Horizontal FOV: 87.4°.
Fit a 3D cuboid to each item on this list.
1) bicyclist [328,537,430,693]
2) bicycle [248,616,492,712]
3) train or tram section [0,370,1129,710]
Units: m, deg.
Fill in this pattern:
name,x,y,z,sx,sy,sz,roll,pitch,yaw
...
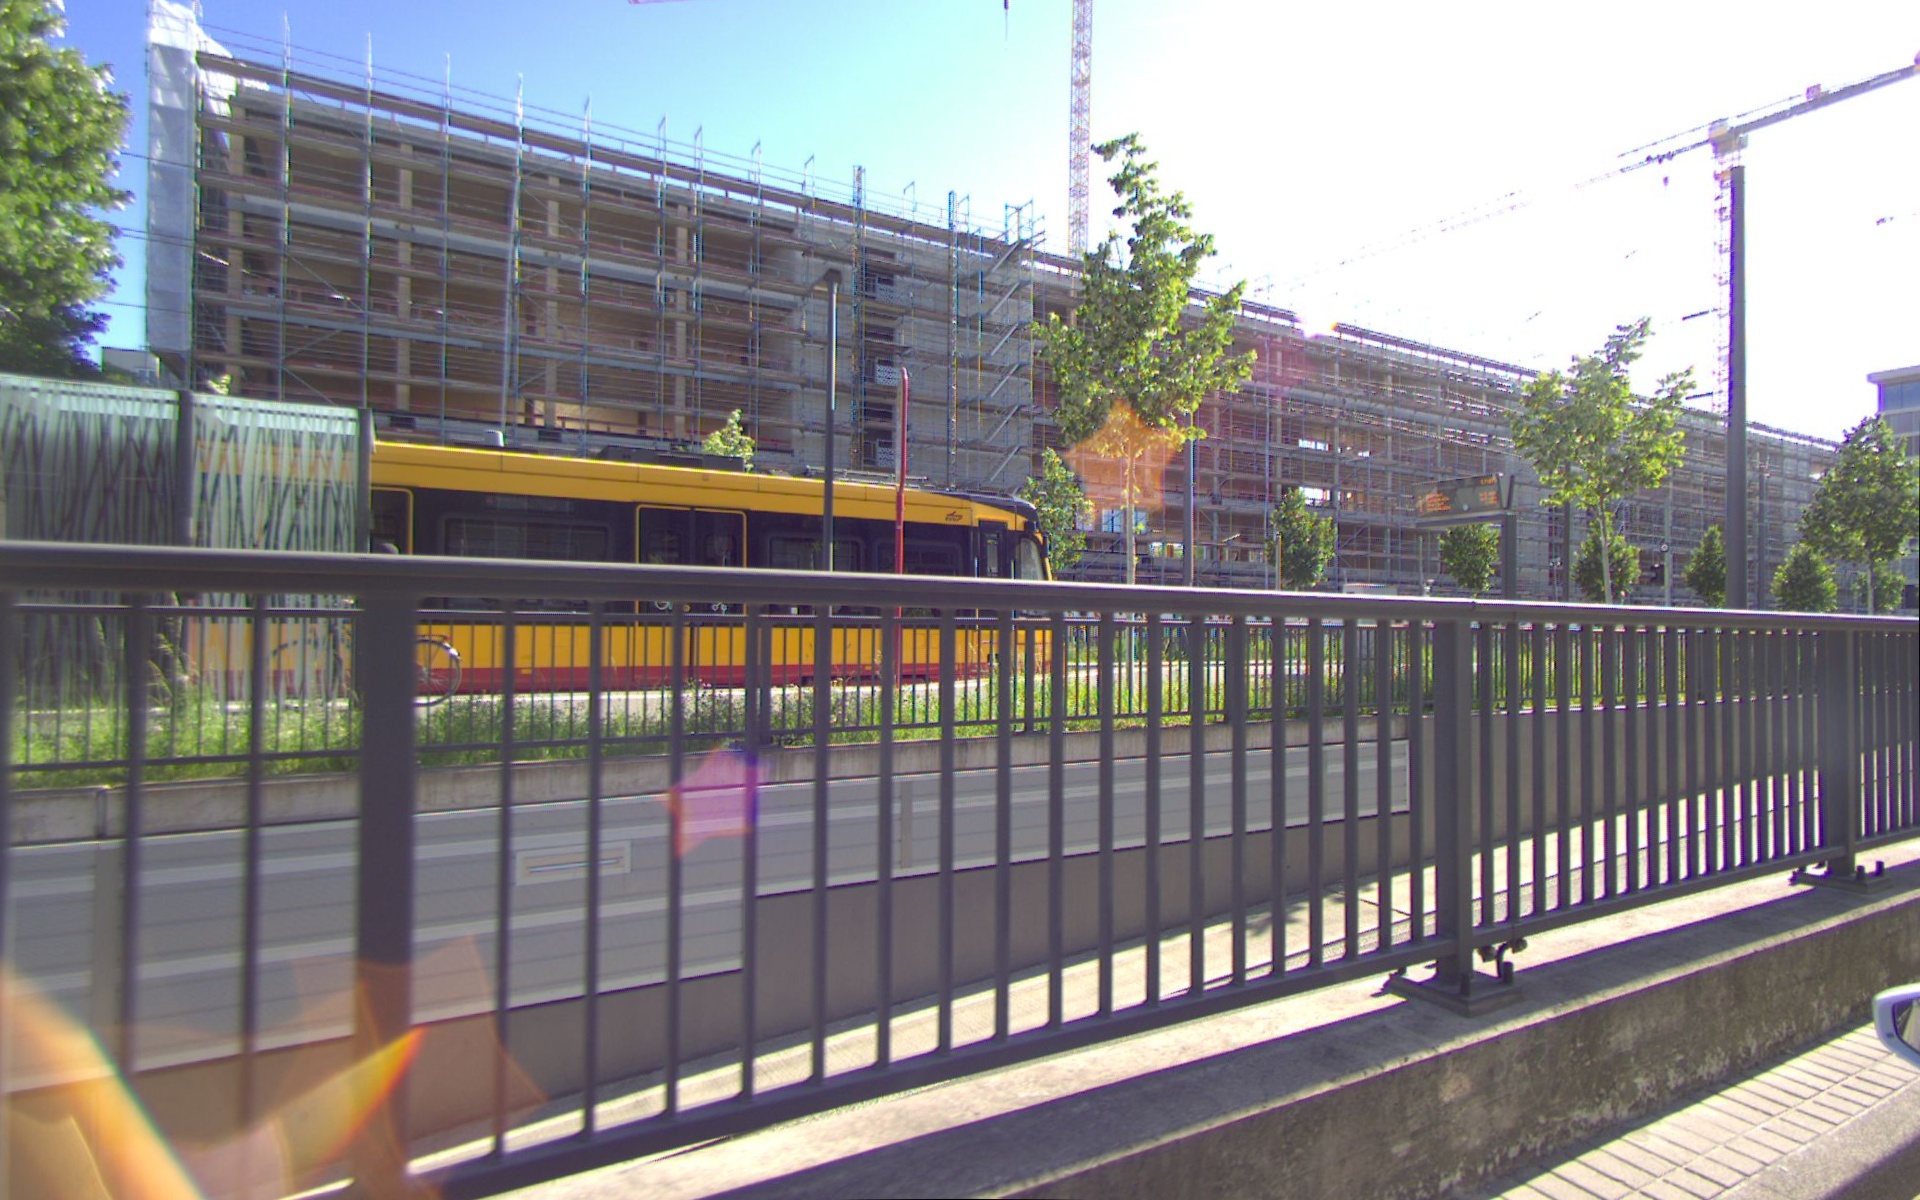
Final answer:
name,x,y,z,sx,sy,sz,roll,pitch,yaw
bicyclist,-5.872,0.161,10.186,0.843,1.511,0.535,1,-1,-30
bicycle,-5.900,0.629,10.168,2.062,0.897,0.535,2,-1,-30
train or tram section,-7.340,-0.533,12.669,21.880,3.323,2.857,1,0,-30
